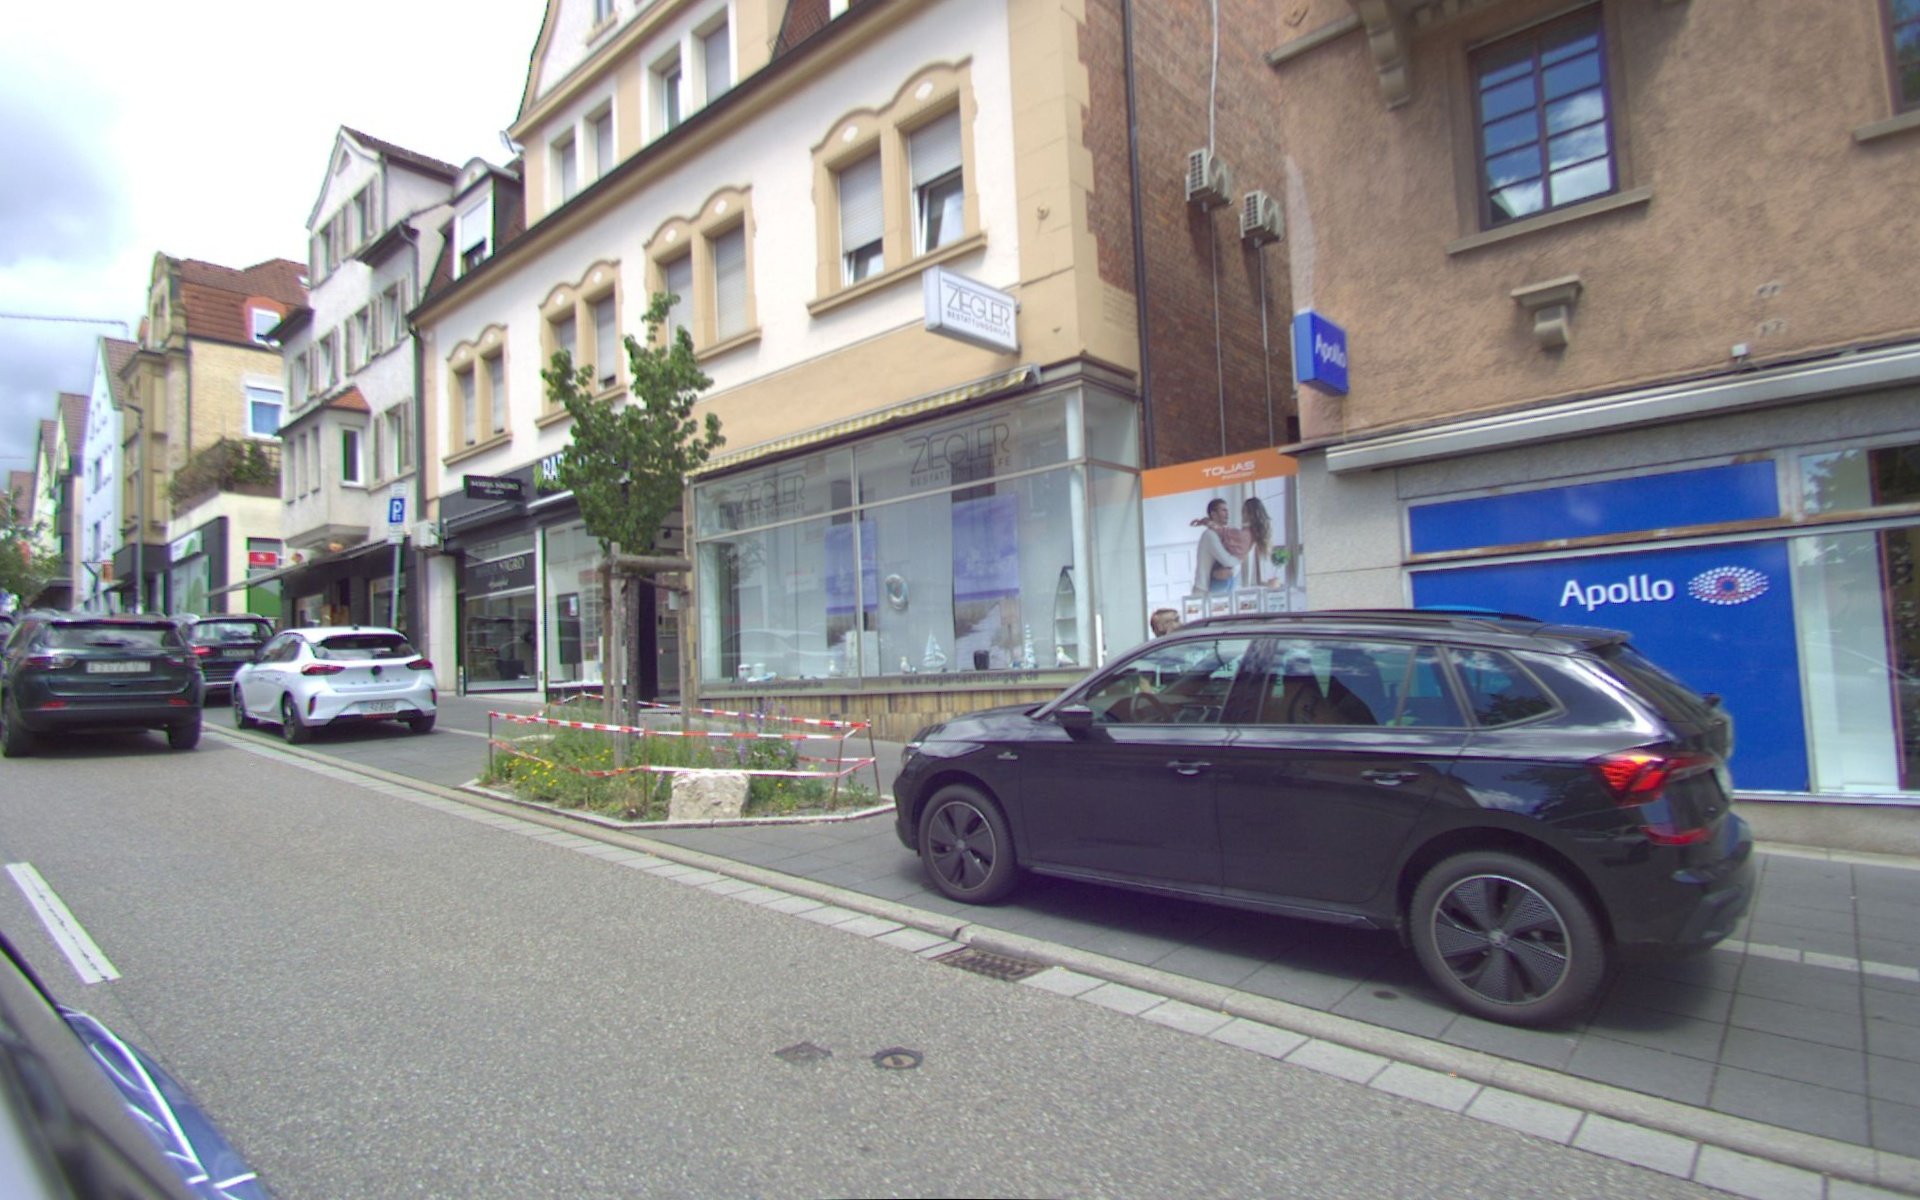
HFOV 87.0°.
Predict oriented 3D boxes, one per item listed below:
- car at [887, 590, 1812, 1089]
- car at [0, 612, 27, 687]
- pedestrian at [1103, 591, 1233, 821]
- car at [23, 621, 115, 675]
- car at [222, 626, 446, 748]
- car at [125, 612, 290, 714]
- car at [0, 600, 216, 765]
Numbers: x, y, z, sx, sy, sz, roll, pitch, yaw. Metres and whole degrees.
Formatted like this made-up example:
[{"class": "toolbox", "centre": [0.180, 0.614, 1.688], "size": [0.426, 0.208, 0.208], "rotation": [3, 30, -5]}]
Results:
[{"class": "car", "centre": [1.636, 0.776, 5.060], "size": [3.960, 1.538, 1.647], "rotation": [-2, 0, 40]}, {"class": "car", "centre": [-23.368, 1.118, 23.659], "size": [3.734, 1.693, 1.869], "rotation": [-1, -4, 42]}, {"class": "pedestrian", "centre": [1.544, 0.747, 7.503], "size": [0.650, 1.585, 0.621], "rotation": [-2, 1, 41]}, {"class": "car", "centre": [-27.076, 1.418, 30.718], "size": [3.528, 1.536, 1.668], "rotation": [-1, -2, 42]}, {"class": "car", "centre": [-8.649, 1.088, 13.893], "size": [3.502, 1.442, 1.709], "rotation": [-1, -2, 42]}, {"class": "car", "centre": [-14.064, 1.092, 18.845], "size": [3.991, 1.692, 1.709], "rotation": [-1, -2, 42]}, {"class": "car", "centre": [-10.749, 0.914, 12.401], "size": [3.857, 1.702, 1.806], "rotation": [-1, -3, 41]}]
